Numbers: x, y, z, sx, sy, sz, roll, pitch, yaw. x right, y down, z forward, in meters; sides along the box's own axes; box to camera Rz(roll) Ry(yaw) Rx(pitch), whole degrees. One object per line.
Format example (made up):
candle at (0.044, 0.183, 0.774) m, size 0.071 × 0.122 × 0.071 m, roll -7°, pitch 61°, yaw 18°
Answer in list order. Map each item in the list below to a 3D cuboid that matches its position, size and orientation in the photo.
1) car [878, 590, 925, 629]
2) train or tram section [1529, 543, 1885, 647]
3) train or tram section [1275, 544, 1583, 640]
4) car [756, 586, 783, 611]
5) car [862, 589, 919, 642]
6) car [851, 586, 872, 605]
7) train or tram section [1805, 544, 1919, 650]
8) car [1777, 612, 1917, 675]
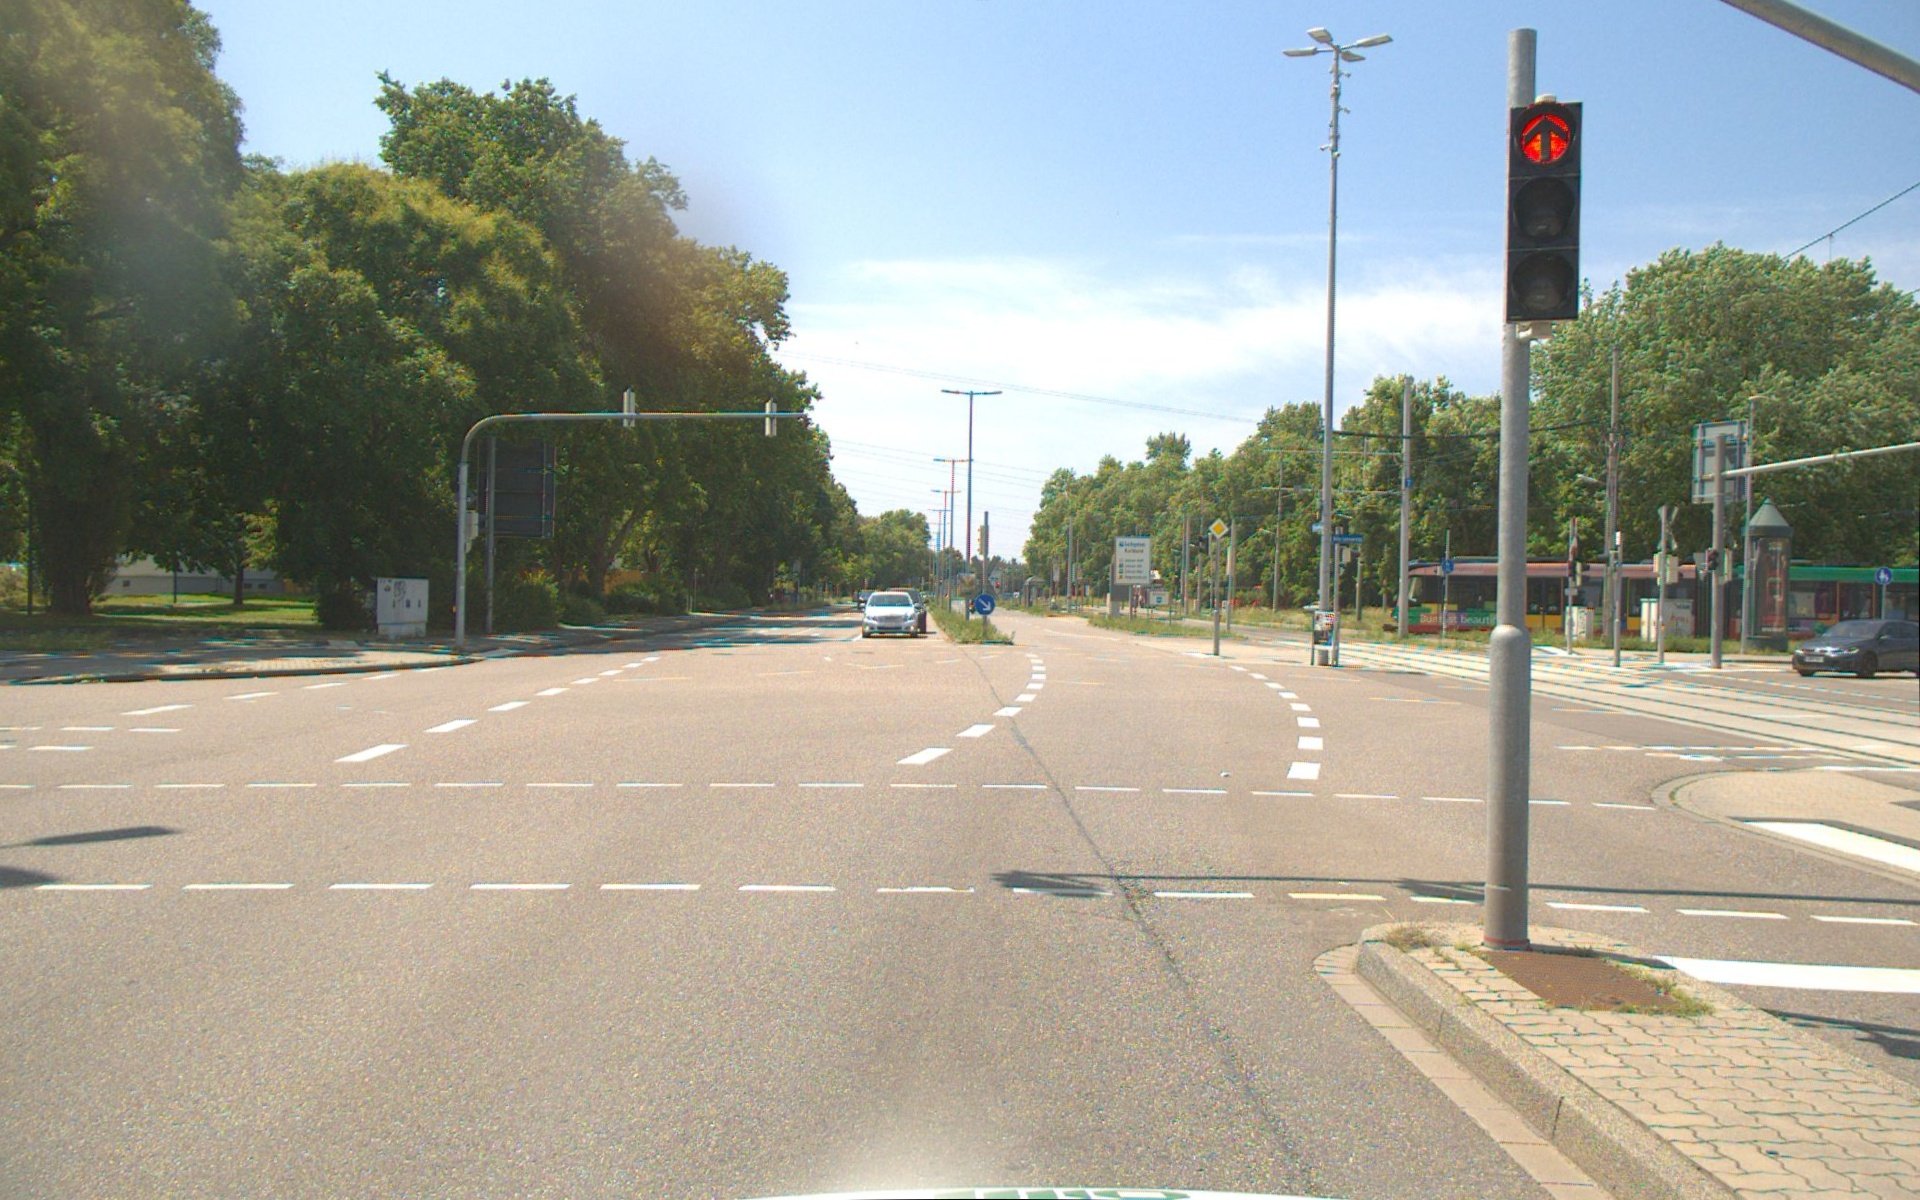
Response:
car at (-2.151, 0.334, 61.569) m, size 1.676 × 1.389 × 3.864 m, roll 1°, pitch 0°, yaw -1°
train or tram section at (30.489, -0.222, 68.335) m, size 13.133 × 3.878 × 2.924 m, roll 1°, pitch -3°, yaw 19°
train or tram section at (20.545, -0.358, 73.207) m, size 12.799 × 3.878 × 2.915 m, roll 0°, pitch -3°, yaw 33°
car at (-16.636, -0.116, 144.526) m, size 1.955 × 2.048 × 3.996 m, roll 4°, pitch -1°, yaw -4°
car at (-2.235, 0.484, 54.170) m, size 1.748 × 1.657 × 3.864 m, roll 1°, pitch 0°, yaw -1°
car at (-8.247, -0.372, 138.661) m, size 1.637 × 1.516 × 3.710 m, roll 1°, pitch 0°, yaw -1°
train or tram section at (41.837, 0.124, 67.693) m, size 13.732 × 3.988 × 2.918 m, roll 3°, pitch -3°, yaw -8°
car at (22.181, 1.076, 41.339) m, size 3.465 × 1.488 × 1.622 m, roll 1°, pitch 0°, yaw -33°
